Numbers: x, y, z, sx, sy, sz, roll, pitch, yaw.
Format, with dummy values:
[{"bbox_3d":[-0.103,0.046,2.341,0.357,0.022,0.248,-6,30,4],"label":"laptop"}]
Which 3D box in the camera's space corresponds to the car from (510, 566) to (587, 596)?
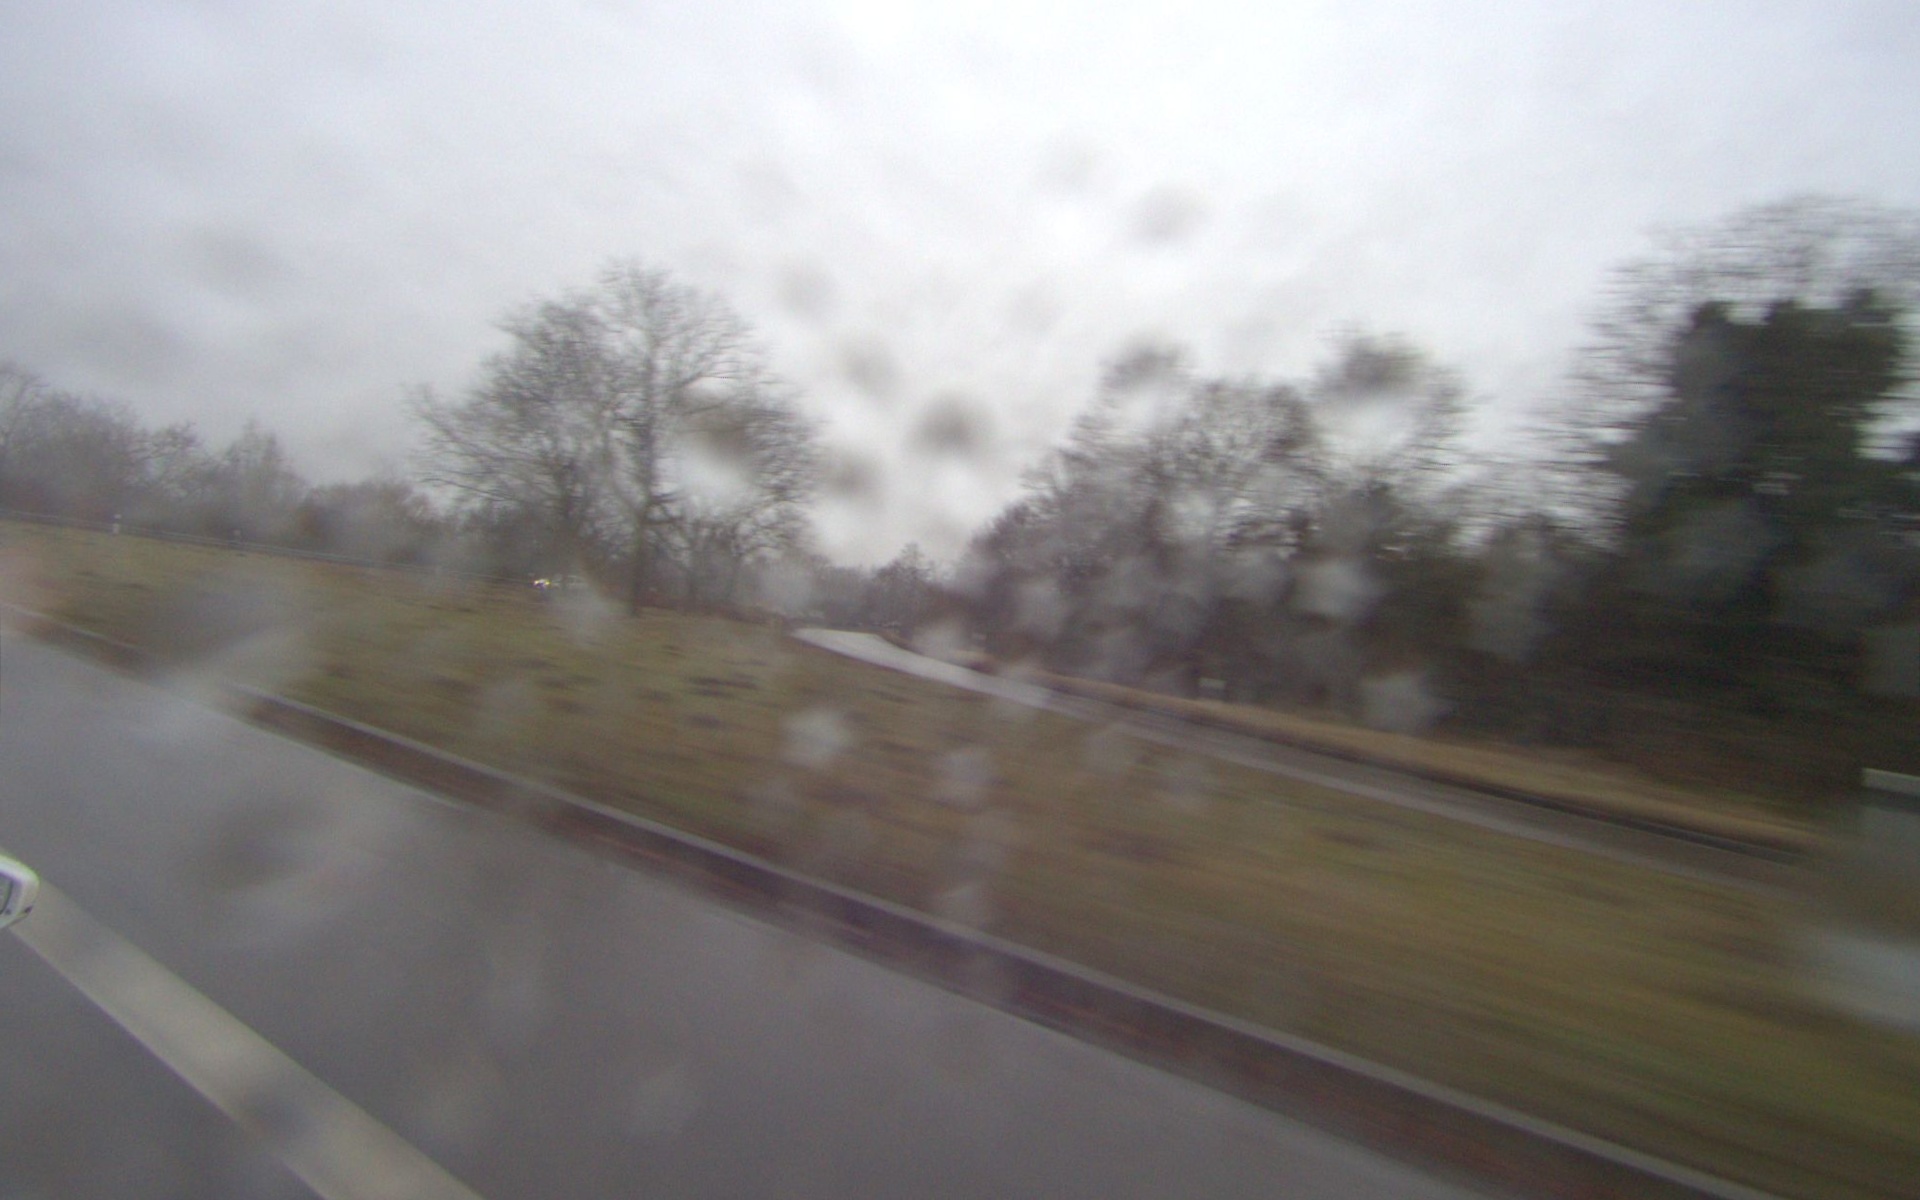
[{"bbox_3d":[-25.970,-1.187,63.600,1.971,1.362,3.985,7,-1,39],"label":"car"}]
